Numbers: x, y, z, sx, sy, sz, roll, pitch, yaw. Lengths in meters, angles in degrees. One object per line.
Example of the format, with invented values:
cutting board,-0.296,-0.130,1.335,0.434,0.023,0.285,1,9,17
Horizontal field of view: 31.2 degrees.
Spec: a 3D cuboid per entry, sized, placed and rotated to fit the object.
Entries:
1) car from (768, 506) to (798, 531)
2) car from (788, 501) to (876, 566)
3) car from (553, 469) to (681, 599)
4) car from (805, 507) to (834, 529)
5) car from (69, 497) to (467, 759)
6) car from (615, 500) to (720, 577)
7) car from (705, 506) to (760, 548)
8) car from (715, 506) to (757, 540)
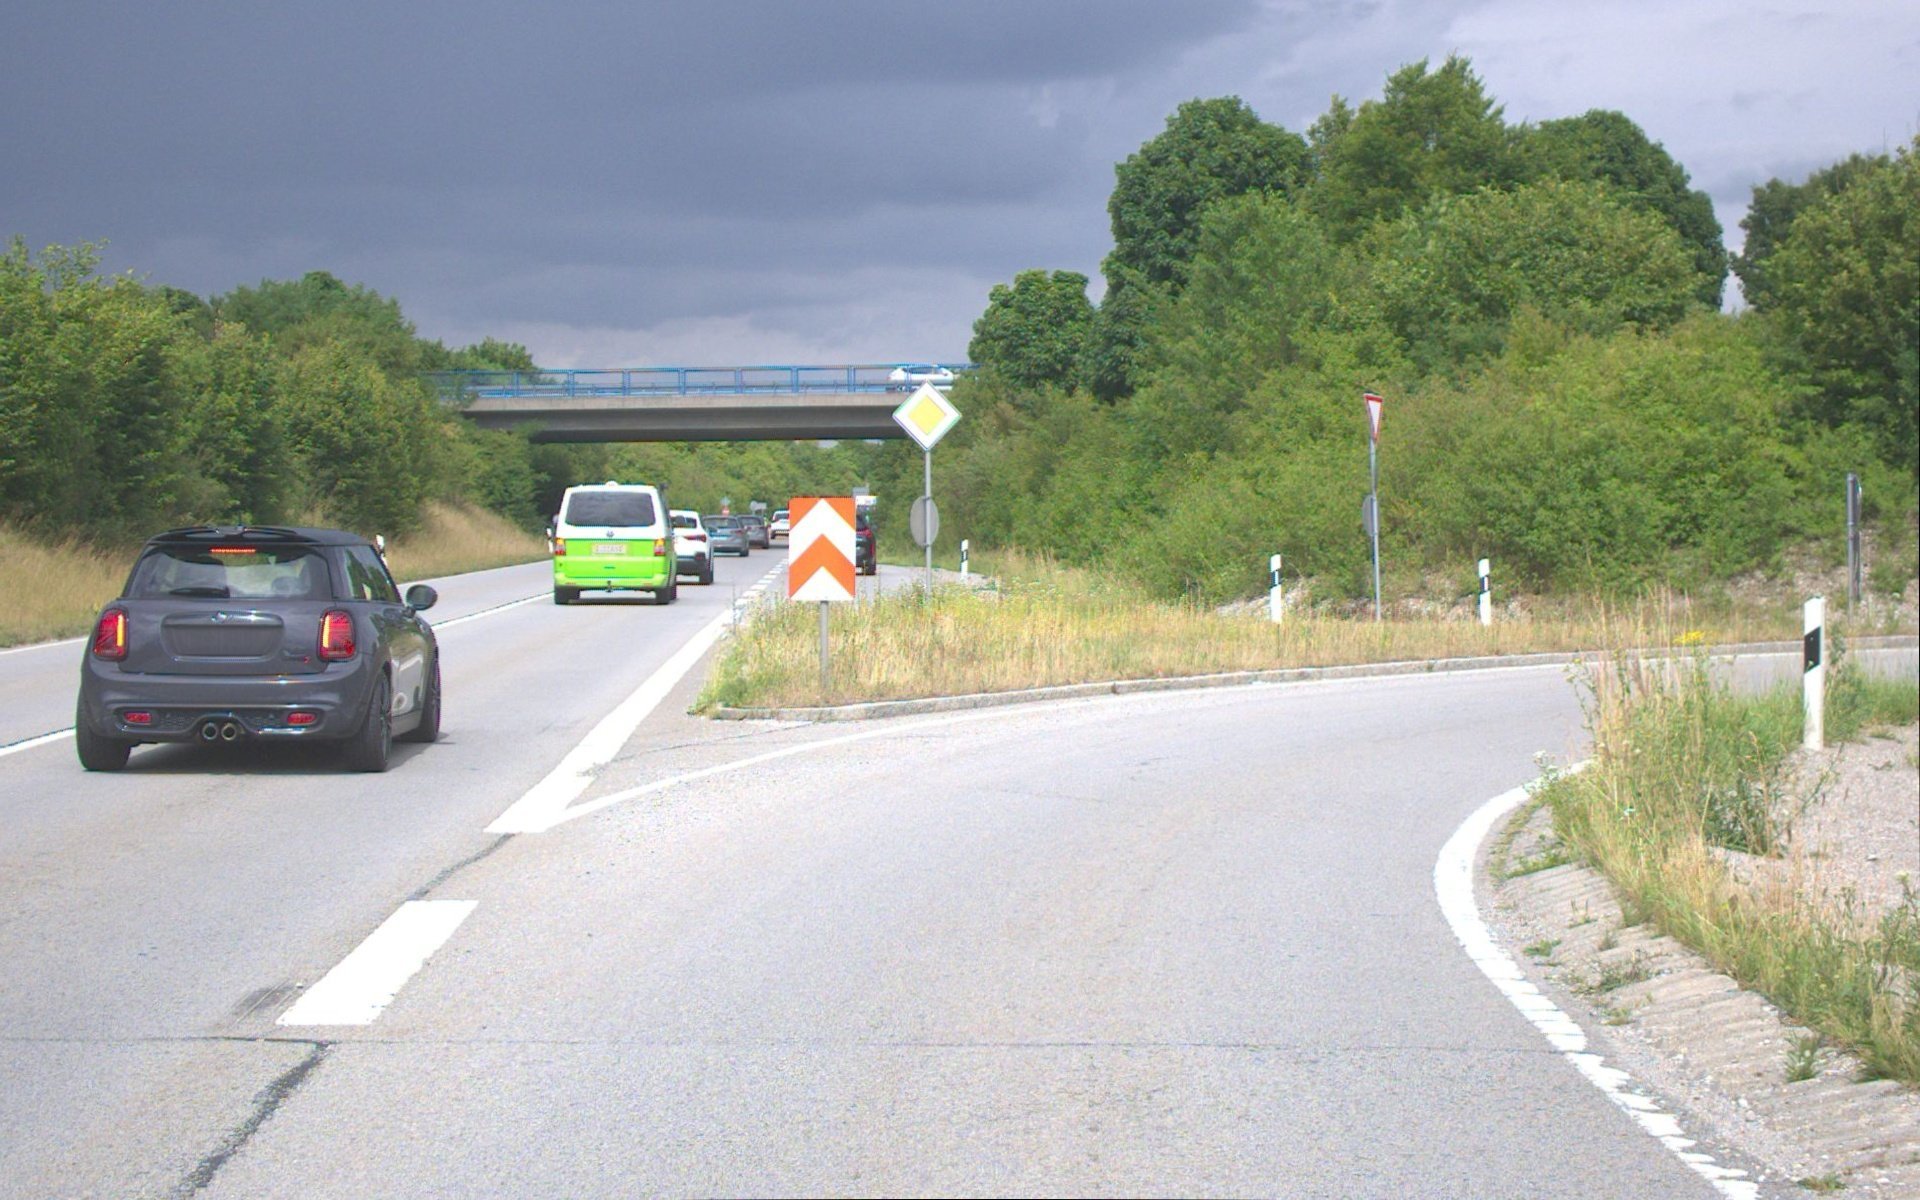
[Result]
car,-10.405,-4.801,202.546,1.667,1.398,4.001,1,2,-2
car,-3.192,-1.659,85.117,1.993,1.546,4.001,1,1,-4
car,-5.628,-1.106,56.766,1.819,2.047,4.001,1,1,-2
car,-9.227,-5.397,225.791,1.667,1.398,4.000,1,2,1
car,-4.133,0.103,21.111,1.756,1.422,4.001,1,1,-2
car,-6.110,-1.309,72.139,1.993,1.546,4.001,1,1,-2
car,-7.820,-2.517,118.451,1.667,1.398,4.000,1,2,-1
car,-9.614,-3.324,147.893,1.667,1.398,4.001,1,2,-2
